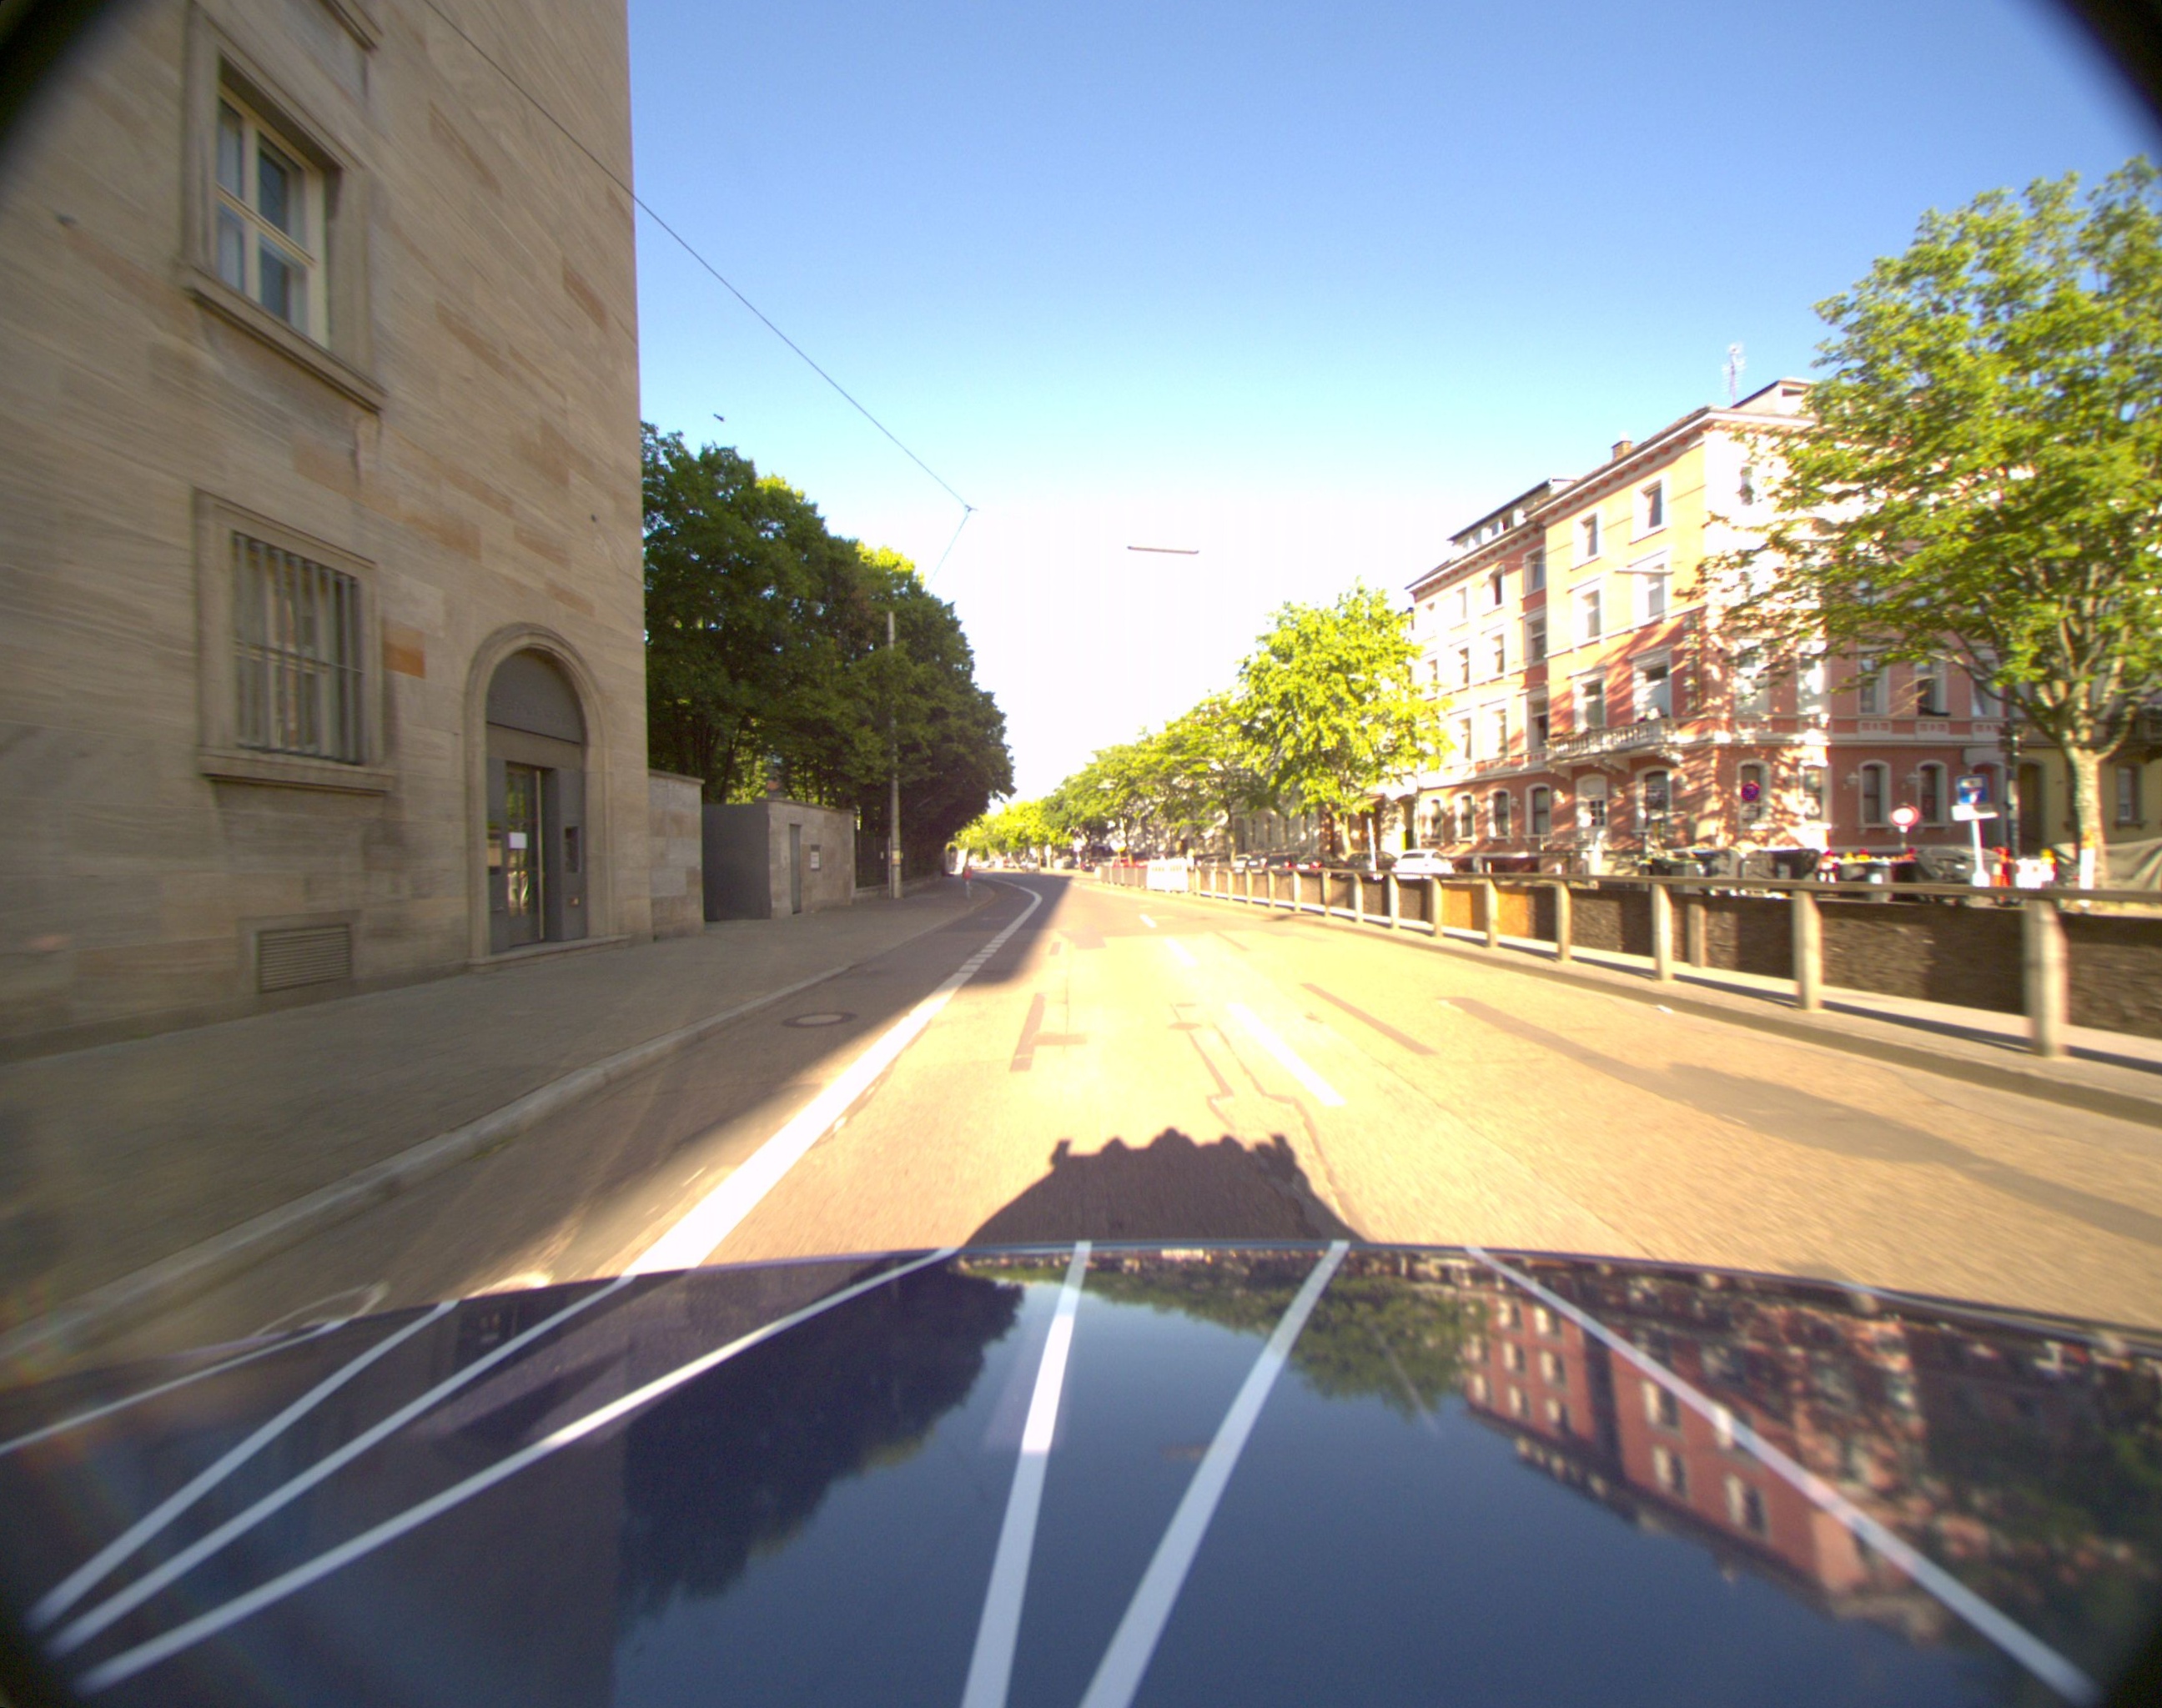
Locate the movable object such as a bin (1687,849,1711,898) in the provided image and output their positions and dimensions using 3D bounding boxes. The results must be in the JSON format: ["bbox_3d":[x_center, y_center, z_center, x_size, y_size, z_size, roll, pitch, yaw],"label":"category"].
[{"bbox_3d":[18.235,0.569,22.431,0.380,1.418,0.386,-1,1,-1],"label":"movable object such as a bin"}]

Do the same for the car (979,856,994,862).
[{"bbox_3d":[-24.778,1.312,198.967,3.624,1.492,1.502,-4,1,-18],"label":"car"}]

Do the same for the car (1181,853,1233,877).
[{"bbox_3d":[9.583,0.836,57.788,3.877,1.645,1.768,-3,1,-41],"label":"car"}]

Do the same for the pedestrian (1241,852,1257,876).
[{"bbox_3d":[12.047,0.715,54.387,0.767,1.745,0.806,-1,0,-24],"label":"pedestrian"}]

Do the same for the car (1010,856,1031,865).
[{"bbox_3d":[-12.275,1.370,154.098,3.775,1.584,1.670,-4,1,-18],"label":"car"}]

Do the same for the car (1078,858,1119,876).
[{"bbox_3d":[2.011,1.499,87.673,4.366,1.704,1.944,-4,2,-36],"label":"car"}]

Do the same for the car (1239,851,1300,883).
[{"bbox_3d":[12.070,0.798,48.530,4.293,1.713,1.703,-5,3,-44],"label":"car"}]

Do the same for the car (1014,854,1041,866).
[{"bbox_3d":[-9.519,1.040,134.842,4.311,1.940,1.670,-4,1,-18],"label":"car"}]

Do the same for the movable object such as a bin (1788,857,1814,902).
[{"bbox_3d":[21.043,0.745,22.220,0.380,1.304,0.387,-1,1,-7],"label":"movable object such as a bin"}]

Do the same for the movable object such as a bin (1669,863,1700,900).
[{"bbox_3d":[17.541,0.788,22.097,0.380,1.062,0.639,-1,0,-1],"label":"movable object such as a bin"}]

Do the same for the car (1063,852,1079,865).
[{"bbox_3d":[-1.475,0.688,112.795,1.673,1.886,3.211,-1,0,-13],"label":"car"}]

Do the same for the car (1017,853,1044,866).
[{"bbox_3d":[-8.853,0.936,132.100,4.311,1.940,1.670,-4,1,-18],"label":"car"}]

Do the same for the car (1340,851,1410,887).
[{"bbox_3d":[14.655,0.730,37.739,3.929,1.499,1.685,-5,1,-44],"label":"car"}]

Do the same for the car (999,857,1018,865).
[{"bbox_3d":[-16.078,1.529,168.214,3.775,1.584,1.670,-4,1,-18],"label":"car"}]

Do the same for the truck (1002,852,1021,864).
[{"bbox_3d":[-14.847,0.848,161.652,3.774,2.409,1.671,-4,1,-13],"label":"truck"}]

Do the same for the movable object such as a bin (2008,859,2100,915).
[{"bbox_3d":[20.463,0.669,16.004,0.427,1.120,1.146,-1,1,-7],"label":"movable object such as a bin"}]

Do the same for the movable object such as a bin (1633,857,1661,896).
[{"bbox_3d":[17.437,0.690,23.423,0.380,1.196,0.639,-1,0,-1],"label":"movable object such as a bin"}]

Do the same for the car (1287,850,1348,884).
[{"bbox_3d":[13.252,0.726,42.388,1.631,1.607,3.993,-3,1,42],"label":"car"}]

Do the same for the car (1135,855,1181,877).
[{"bbox_3d":[7.206,1.104,70.486,4.208,1.627,1.738,-4,0,-41],"label":"car"}]

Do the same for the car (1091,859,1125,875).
[{"bbox_3d":[3.053,1.491,85.701,1.744,1.511,3.772,-2,2,44],"label":"car"}]

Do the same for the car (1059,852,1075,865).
[{"bbox_3d":[-2.151,0.669,116.171,1.673,1.886,3.211,-1,0,-13],"label":"car"}]

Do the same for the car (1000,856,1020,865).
[{"bbox_3d":[-14.646,1.417,157.146,3.775,1.584,1.670,-4,1,-18],"label":"car"}]

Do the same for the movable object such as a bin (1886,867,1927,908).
[{"bbox_3d":[21.572,0.875,19.865,0.448,1.028,0.552,-1,2,-7],"label":"movable object such as a bin"}]

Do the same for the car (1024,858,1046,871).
[{"bbox_3d":[-6.104,1.397,100.287,1.878,1.591,4.421,-1,0,-17],"label":"car"}]

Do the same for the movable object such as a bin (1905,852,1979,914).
[{"bbox_3d":[21.059,0.692,18.612,0.427,1.450,1.146,-1,2,-7],"label":"movable object such as a bin"}]

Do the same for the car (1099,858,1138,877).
[{"bbox_3d":[4.135,1.452,82.858,4.208,1.714,1.780,-5,2,-45],"label":"car"}]

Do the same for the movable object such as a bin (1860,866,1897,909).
[{"bbox_3d":[20.787,0.872,19.811,0.380,1.090,0.552,-1,2,-7],"label":"movable object such as a bin"}]

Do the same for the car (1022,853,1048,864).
[{"bbox_3d":[-7.837,0.834,128.969,4.105,1.561,1.670,-4,1,-18],"label":"car"}]

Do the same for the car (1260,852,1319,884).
[{"bbox_3d":[12.401,0.835,45.094,1.630,1.607,3.993,-3,1,42],"label":"car"}]

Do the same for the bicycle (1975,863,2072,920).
[{"bbox_3d":[19.603,0.751,15.837,0.264,1.110,1.405,-1,0,-1],"label":"bicycle"}]

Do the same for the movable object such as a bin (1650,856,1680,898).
[{"bbox_3d":[17.497,0.688,22.758,0.380,1.234,0.639,-1,0,-1],"label":"movable object such as a bin"}]

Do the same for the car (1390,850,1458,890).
[{"bbox_3d":[15.693,0.697,34.669,1.731,1.513,3.923,-3,1,41],"label":"car"}]

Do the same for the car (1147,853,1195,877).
[{"bbox_3d":[8.042,0.968,67.469,4.208,1.788,1.781,-4,2,-41],"label":"car"}]

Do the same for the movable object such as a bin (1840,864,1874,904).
[{"bbox_3d":[21.668,0.824,21.222,0.380,1.090,0.552,-1,0,-7],"label":"movable object such as a bin"}]

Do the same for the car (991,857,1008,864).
[{"bbox_3d":[-19.855,1.587,184.467,3.775,1.584,1.670,-4,1,-18],"label":"car"}]

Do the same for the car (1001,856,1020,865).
[{"bbox_3d":[-15.248,1.456,164.556,3.775,1.584,1.670,-4,1,-18],"label":"car"}]

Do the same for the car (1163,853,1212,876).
[{"bbox_3d":[8.591,0.843,61.039,3.877,1.645,1.768,-3,1,-42],"label":"car"}]

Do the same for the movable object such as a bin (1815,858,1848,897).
[{"bbox_3d":[21.978,0.681,22.261,0.380,1.092,0.552,-1,0,-7],"label":"movable object such as a bin"}]

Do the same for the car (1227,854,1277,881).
[{"bbox_3d":[11.613,0.920,51.559,3.286,1.524,1.703,-6,2,-44],"label":"car"}]

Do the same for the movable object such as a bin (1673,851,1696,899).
[{"bbox_3d":[18.141,0.625,22.840,0.380,1.418,0.387,-1,1,-1],"label":"movable object such as a bin"}]

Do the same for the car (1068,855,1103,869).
[{"bbox_3d":[0.524,0.976,90.574,4.007,1.477,1.777,-4,2,-44],"label":"car"}]

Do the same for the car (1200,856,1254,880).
[{"bbox_3d":[10.527,0.967,54.681,3.829,1.477,1.766,-4,2,-42],"label":"car"}]

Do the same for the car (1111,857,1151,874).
[{"bbox_3d":[5.285,1.235,80.041,4.208,1.549,1.636,-4,1,-41],"label":"car"}]

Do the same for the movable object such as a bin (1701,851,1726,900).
[{"bbox_3d":[18.327,0.613,22.019,0.380,1.418,0.387,-1,1,-1],"label":"movable object such as a bin"}]
